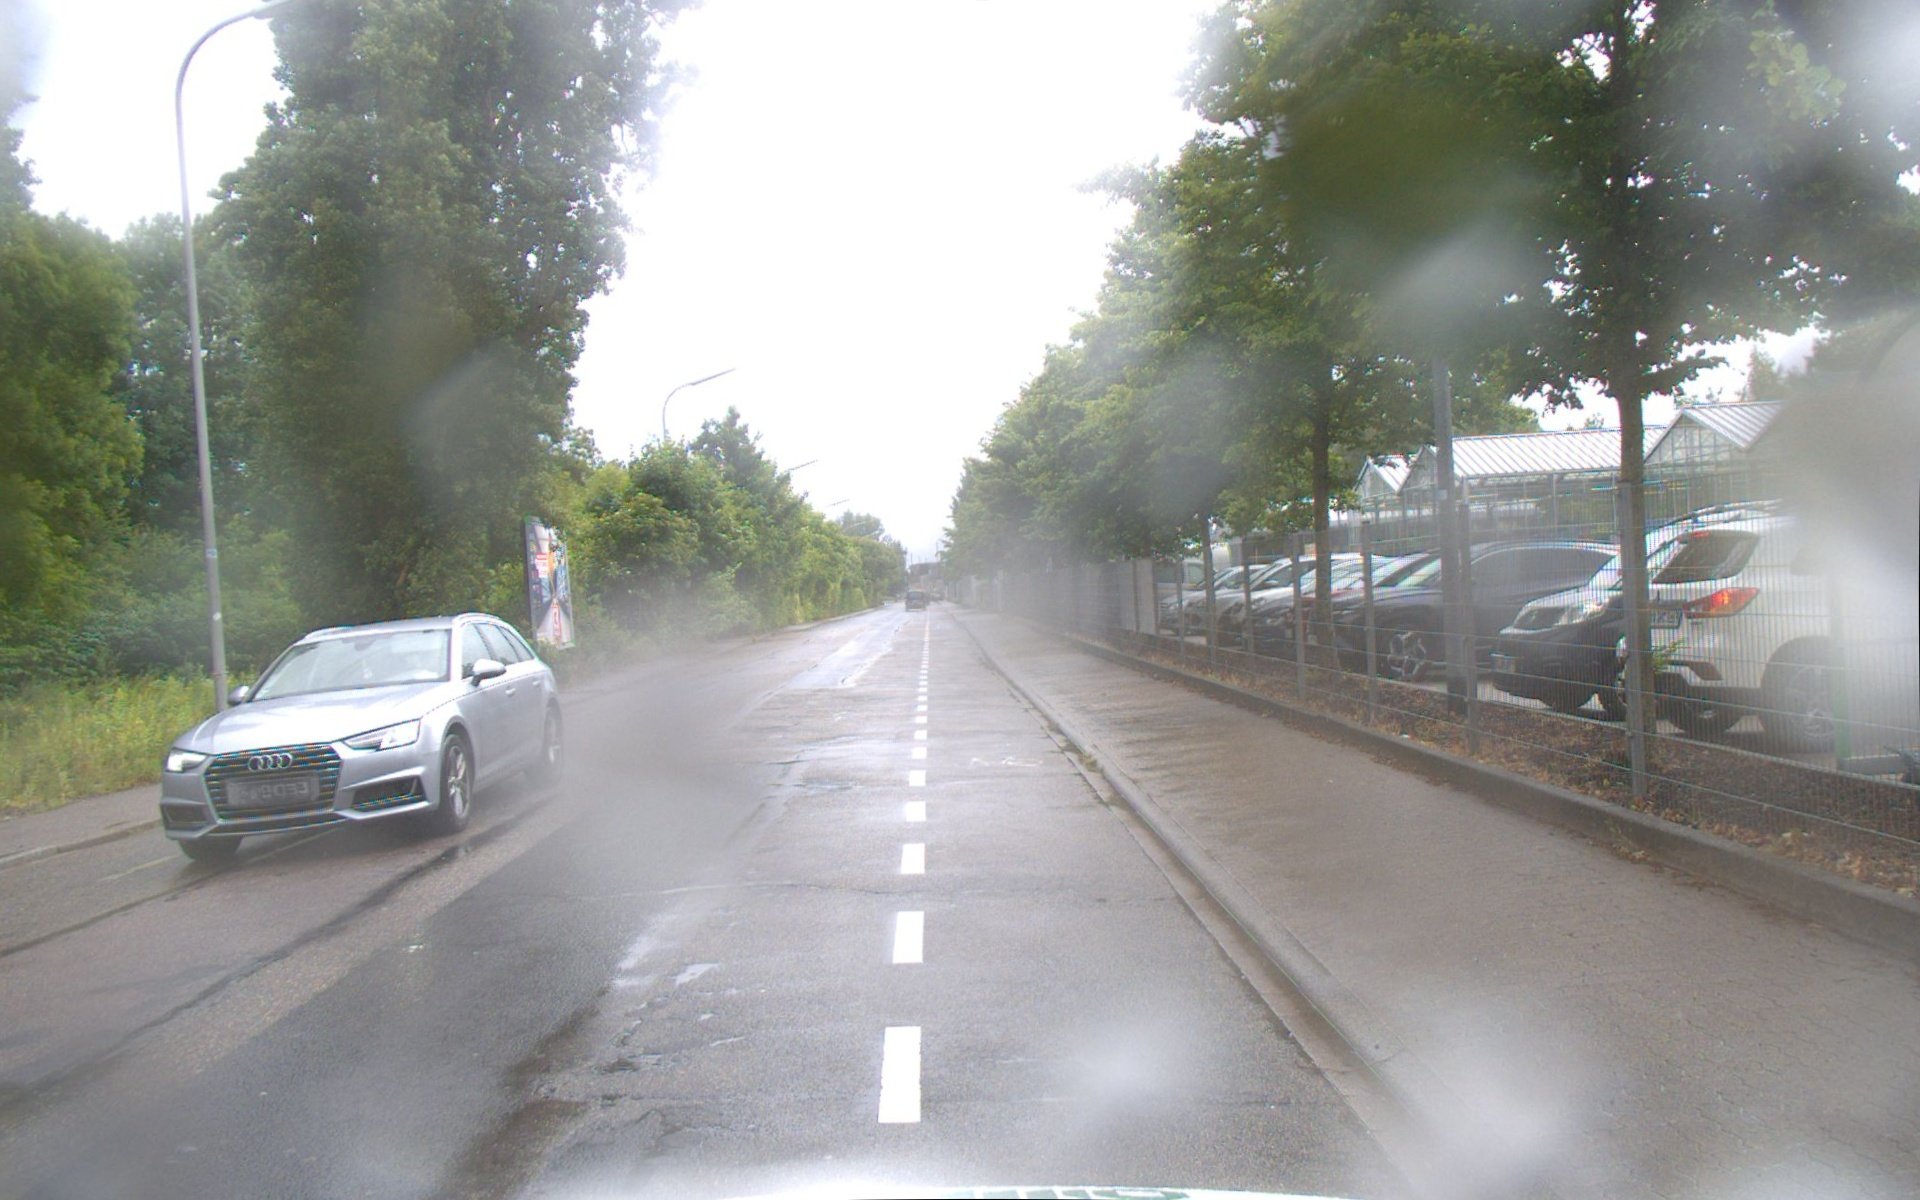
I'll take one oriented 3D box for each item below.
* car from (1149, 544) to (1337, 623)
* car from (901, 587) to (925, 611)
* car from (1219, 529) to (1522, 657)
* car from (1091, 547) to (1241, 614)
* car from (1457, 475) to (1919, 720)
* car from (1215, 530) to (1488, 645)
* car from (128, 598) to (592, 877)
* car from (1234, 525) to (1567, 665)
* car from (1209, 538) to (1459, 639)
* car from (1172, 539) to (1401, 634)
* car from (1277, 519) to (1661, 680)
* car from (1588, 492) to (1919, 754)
[{"bbox_3d":[6.835,-0.401,40.173,4.126,1.616,1.822,-4,1,-4],"label":"car"},{"bbox_3d":[-4.113,-0.092,145.726,1.954,1.943,4.199,-4,0,-2],"label":"car"},{"bbox_3d":[6.308,-0.118,25.635,4.131,1.646,1.820,-4,1,-9],"label":"car"},{"bbox_3d":[6.128,-0.580,49.475,4.126,1.706,1.822,-4,1,-4],"label":"car"},{"bbox_3d":[6.830,-0.069,14.771,4.131,1.825,1.820,-4,1,-9],"label":"car"},{"bbox_3d":[6.690,-0.216,28.440,4.131,1.646,1.820,-4,1,-9],"label":"car"},{"bbox_3d":[-4.129,0.833,12.233,1.699,1.475,4.381,-6,0,0],"label":"car"},{"bbox_3d":[6.192,-0.082,23.490,4.131,1.646,1.820,-4,1,-9],"label":"car"},{"bbox_3d":[6.953,-0.227,30.921,4.131,1.560,1.820,-4,1,-9],"label":"car"},{"bbox_3d":[6.577,-0.278,33.568,4.131,1.616,1.820,-4,1,-9],"label":"car"},{"bbox_3d":[6.278,-0.024,20.620,4.131,1.646,1.820,-4,1,-9],"label":"car"},{"bbox_3d":[6.959,0.048,11.883,4.124,1.628,1.823,-4,1,-2],"label":"car"}]
